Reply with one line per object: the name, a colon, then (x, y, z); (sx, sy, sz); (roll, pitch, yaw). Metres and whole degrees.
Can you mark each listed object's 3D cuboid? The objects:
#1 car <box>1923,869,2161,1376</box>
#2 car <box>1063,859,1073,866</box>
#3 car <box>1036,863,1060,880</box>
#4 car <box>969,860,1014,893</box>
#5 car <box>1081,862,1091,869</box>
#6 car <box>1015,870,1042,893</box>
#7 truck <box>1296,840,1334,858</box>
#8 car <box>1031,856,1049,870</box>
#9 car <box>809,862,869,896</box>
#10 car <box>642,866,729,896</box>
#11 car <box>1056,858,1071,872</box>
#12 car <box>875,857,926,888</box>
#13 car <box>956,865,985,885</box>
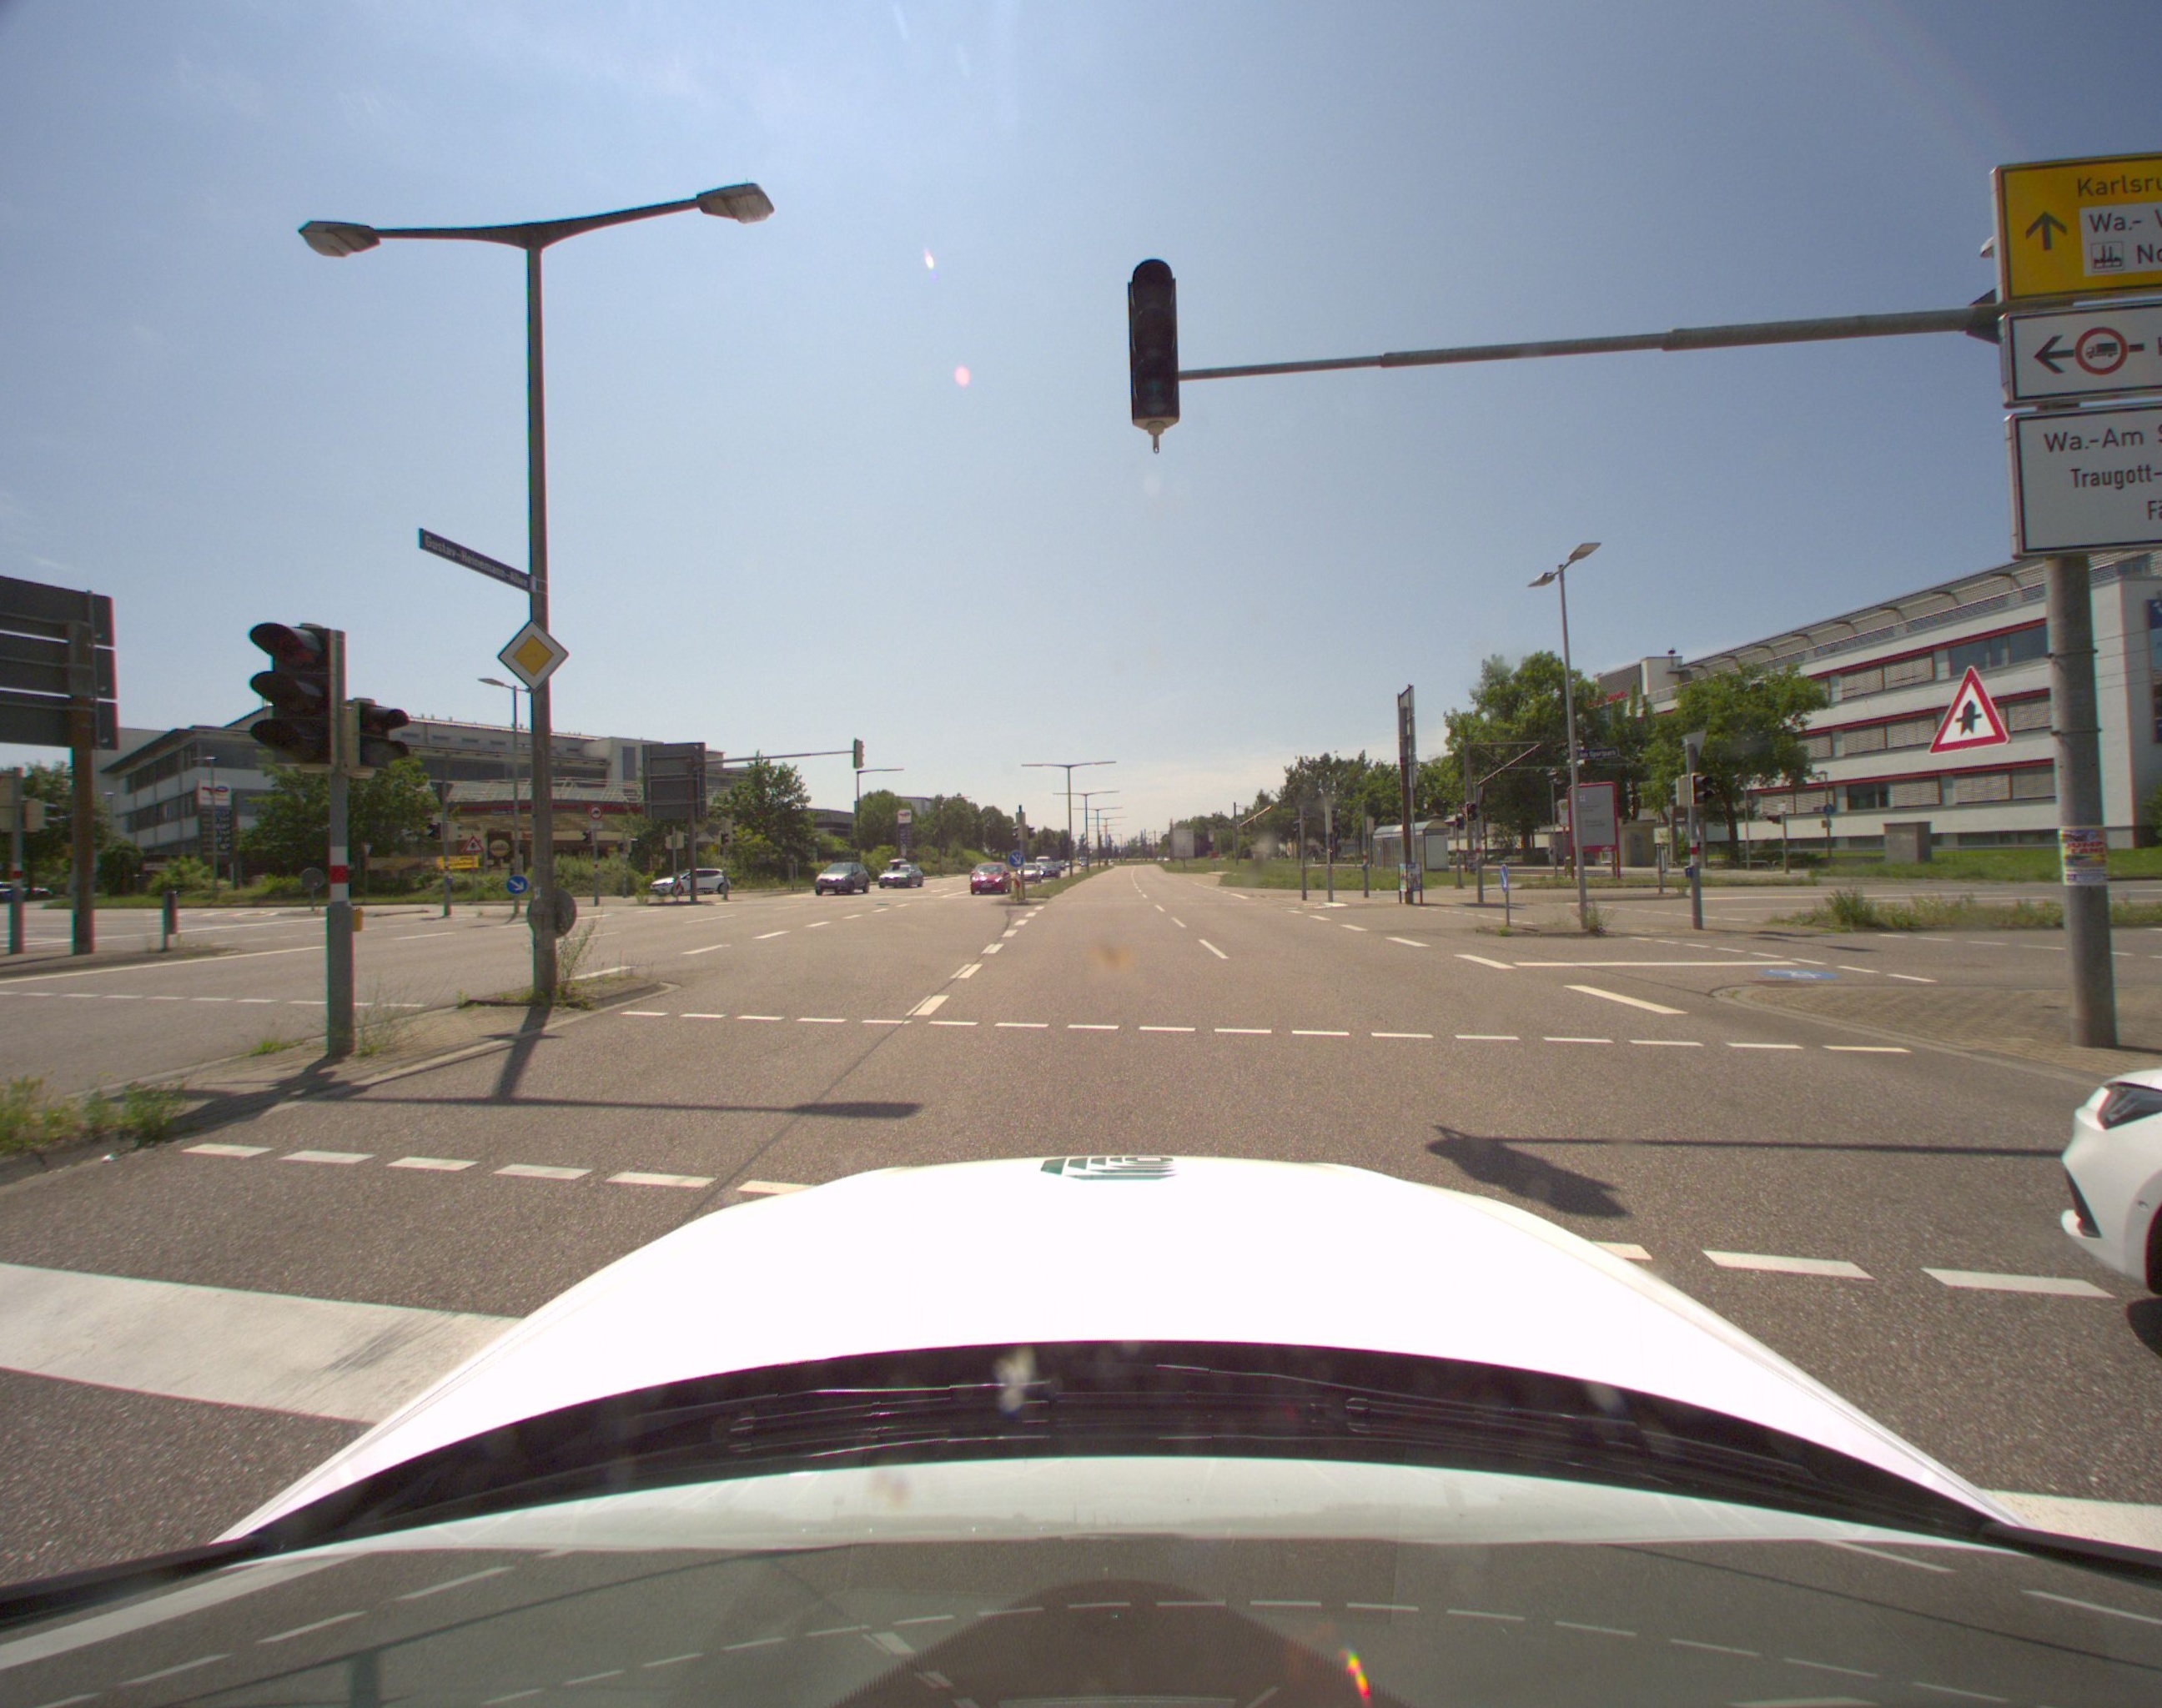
car: (3.844, 0.733, 0.670); (1.677, 1.390, 4.449); (-1, 0, 0)
car: (-2.842, 1.859, 181.884); (1.824, 1.449, 4.853); (-2, 0, 2)
car: (-2.798, 1.474, 69.450); (1.669, 1.434, 4.192); (-1, 0, 2)
car: (-4.380, 1.092, 40.348); (1.652, 1.490, 4.001); (-2, 0, 1)
car: (1.205, 2.676, 191.203); (1.722, 1.458, 4.571); (-2, 0, 5)
car: (-3.658, 1.895, 57.449); (1.555, 1.423, 3.855); (-1, 0, 1)
truck: (41.913, -0.880, 145.926); (5.831, 2.843, 2.316); (-3, -1, -5)
car: (-6.558, 1.460, 131.284); (2.240, 2.273, 5.453); (0, -1, 3)
car: (-11.961, 1.187, 40.511); (1.652, 1.539, 4.001); (-1, 0, 1)
car: (-21.264, 1.436, 43.899); (1.805, 1.450, 3.852); (-2, -1, 36)
car: (-2.630, 1.693, 123.779); (1.985, 2.014, 4.004); (0, -1, 4)
car: (-11.220, 1.112, 50.917); (1.958, 1.750, 5.023); (-2, 0, 1)
car: (-8.315, 1.576, 61.620); (1.591, 1.385, 4.004); (-1, 0, 1)
